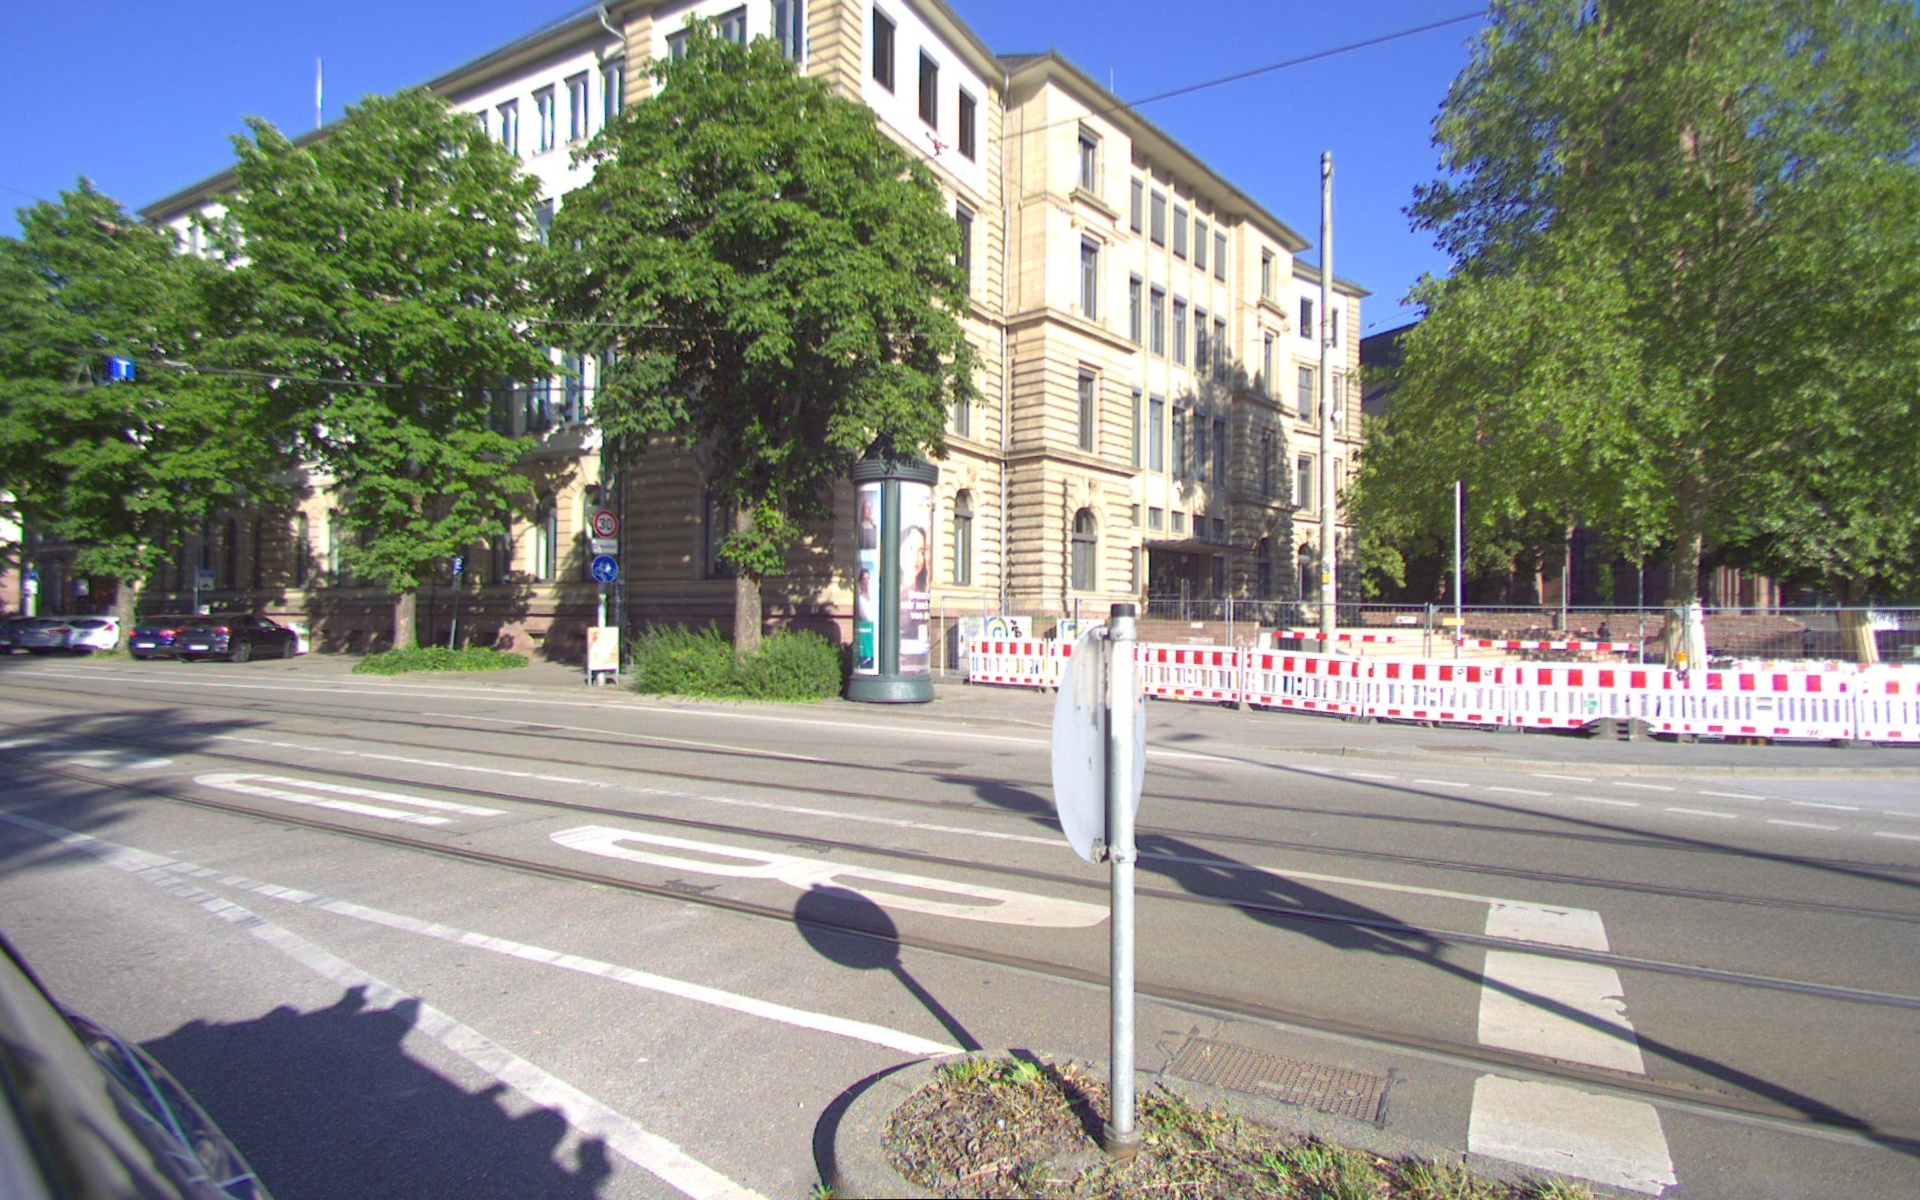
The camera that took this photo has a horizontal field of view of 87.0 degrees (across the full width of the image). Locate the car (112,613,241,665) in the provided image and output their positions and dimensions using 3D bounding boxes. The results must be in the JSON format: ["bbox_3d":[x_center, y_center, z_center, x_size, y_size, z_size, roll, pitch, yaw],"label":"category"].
[{"bbox_3d":[-26.249,1.272,34.040,1.626,1.572,3.652,-1,0,-3],"label":"car"}]

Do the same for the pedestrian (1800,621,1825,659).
[{"bbox_3d":[36.902,1.724,43.812,0.666,1.660,0.762,1,-2,-45],"label":"pedestrian"}]

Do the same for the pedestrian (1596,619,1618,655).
[{"bbox_3d":[30.526,1.727,47.725,0.627,1.660,0.677,1,-2,-37],"label":"pedestrian"}]

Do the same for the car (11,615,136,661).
[{"bbox_3d":[-33.233,1.393,38.068,1.626,1.572,3.652,-1,0,-3],"label":"car"}]

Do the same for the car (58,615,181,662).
[{"bbox_3d":[-30.920,1.375,37.357,1.626,1.572,3.652,-1,0,-3],"label":"car"}]

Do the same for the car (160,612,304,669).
[{"bbox_3d":[-23.620,1.262,33.039,1.819,1.643,4.184,-1,0,-3],"label":"car"}]

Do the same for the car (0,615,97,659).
[{"bbox_3d":[-36.249,1.416,39.776,1.626,1.572,3.652,-1,0,-3],"label":"car"}]
